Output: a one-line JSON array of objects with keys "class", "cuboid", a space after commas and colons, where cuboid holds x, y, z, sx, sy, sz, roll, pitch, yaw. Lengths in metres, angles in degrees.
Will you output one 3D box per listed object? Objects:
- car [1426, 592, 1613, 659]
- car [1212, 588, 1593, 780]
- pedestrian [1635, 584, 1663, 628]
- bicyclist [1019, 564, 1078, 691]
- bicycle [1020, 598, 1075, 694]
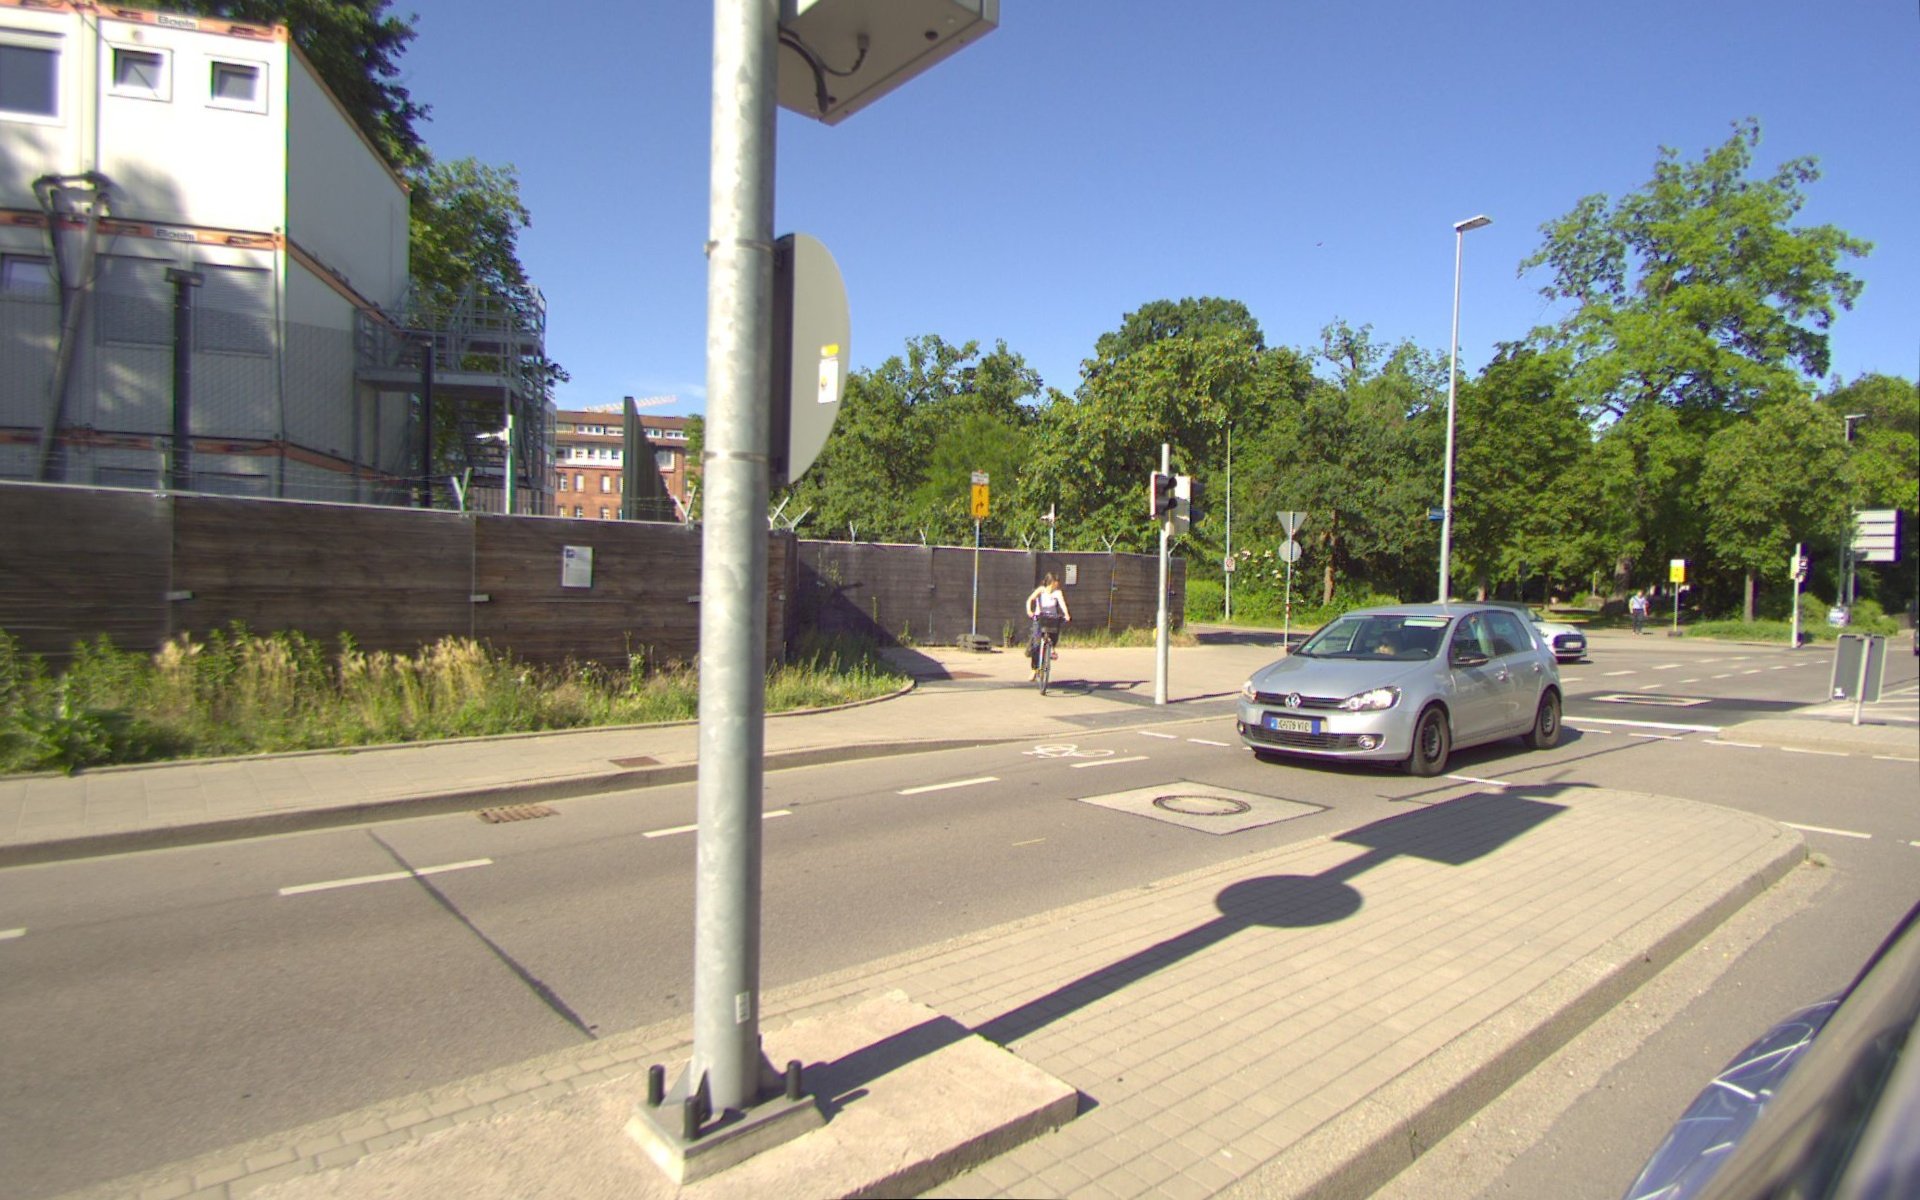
[{"class": "car", "cuboid": [13.402, 0.555, 24.468, 1.735, 1.454, 3.720, 0, 1, -20]}, {"class": "car", "cuboid": [4.384, 0.637, 9.816, 3.926, 1.493, 1.703, 0, 1, -37]}, {"class": "pedestrian", "cuboid": [27.200, 0.217, 39.965, 0.729, 1.724, 0.869, 0, 0, 20]}, {"class": "bicyclist", "cuboid": [1.222, 0.360, 14.169, 0.730, 1.693, 0.852, 1, 2, 2]}, {"class": "bicycle", "cuboid": [1.198, 0.594, 14.223, 0.593, 1.126, 2.125, 2, 3, 1]}]
